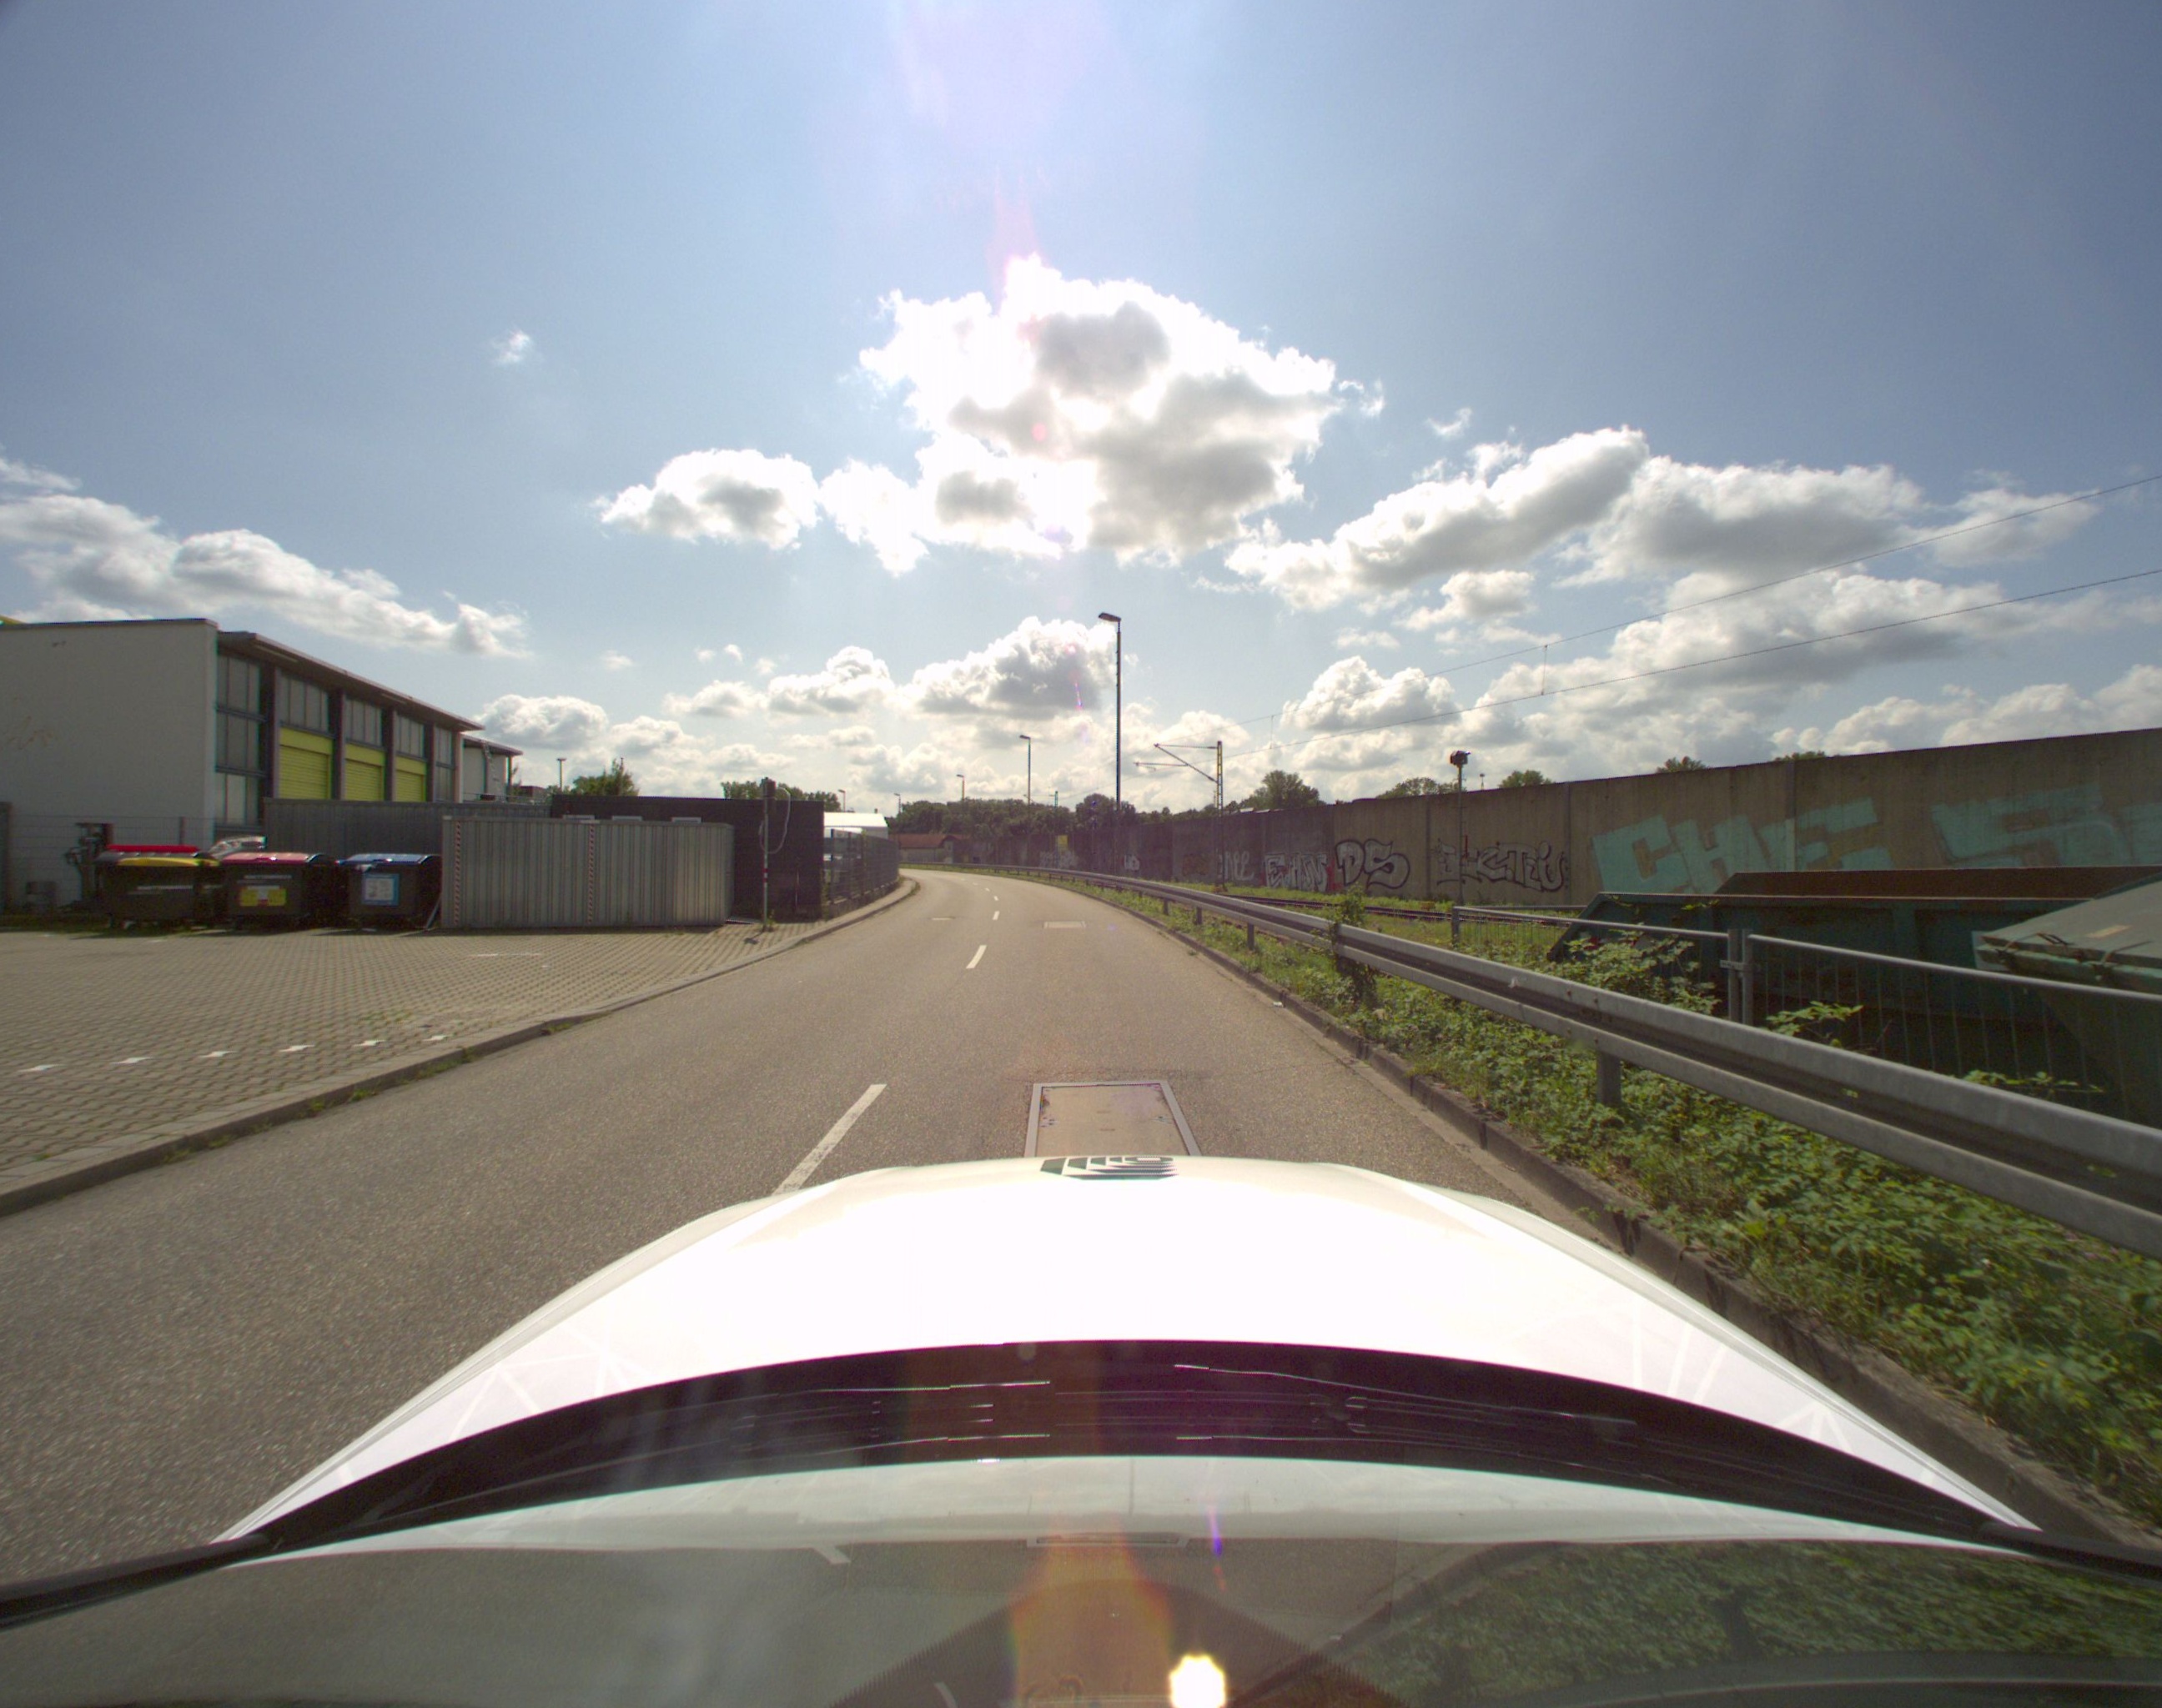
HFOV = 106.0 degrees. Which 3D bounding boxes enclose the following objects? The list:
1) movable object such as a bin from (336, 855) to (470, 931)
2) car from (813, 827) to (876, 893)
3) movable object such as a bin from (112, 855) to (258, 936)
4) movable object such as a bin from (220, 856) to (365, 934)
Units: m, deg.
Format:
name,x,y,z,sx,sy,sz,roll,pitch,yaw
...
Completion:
name,x,y,z,sx,sy,sz,roll,pitch,yaw
movable object such as a bin,-13.449,0.732,16.286,1.377,1.390,2.188,0,-1,-20
car,-9.966,0.238,34.762,2.121,2.537,6.688,0,0,-12
movable object such as a bin,-16.582,0.731,15.164,1.118,1.390,2.010,0,-1,-25
movable object such as a bin,-15.237,0.755,15.852,1.198,1.390,2.188,1,-1,-20
